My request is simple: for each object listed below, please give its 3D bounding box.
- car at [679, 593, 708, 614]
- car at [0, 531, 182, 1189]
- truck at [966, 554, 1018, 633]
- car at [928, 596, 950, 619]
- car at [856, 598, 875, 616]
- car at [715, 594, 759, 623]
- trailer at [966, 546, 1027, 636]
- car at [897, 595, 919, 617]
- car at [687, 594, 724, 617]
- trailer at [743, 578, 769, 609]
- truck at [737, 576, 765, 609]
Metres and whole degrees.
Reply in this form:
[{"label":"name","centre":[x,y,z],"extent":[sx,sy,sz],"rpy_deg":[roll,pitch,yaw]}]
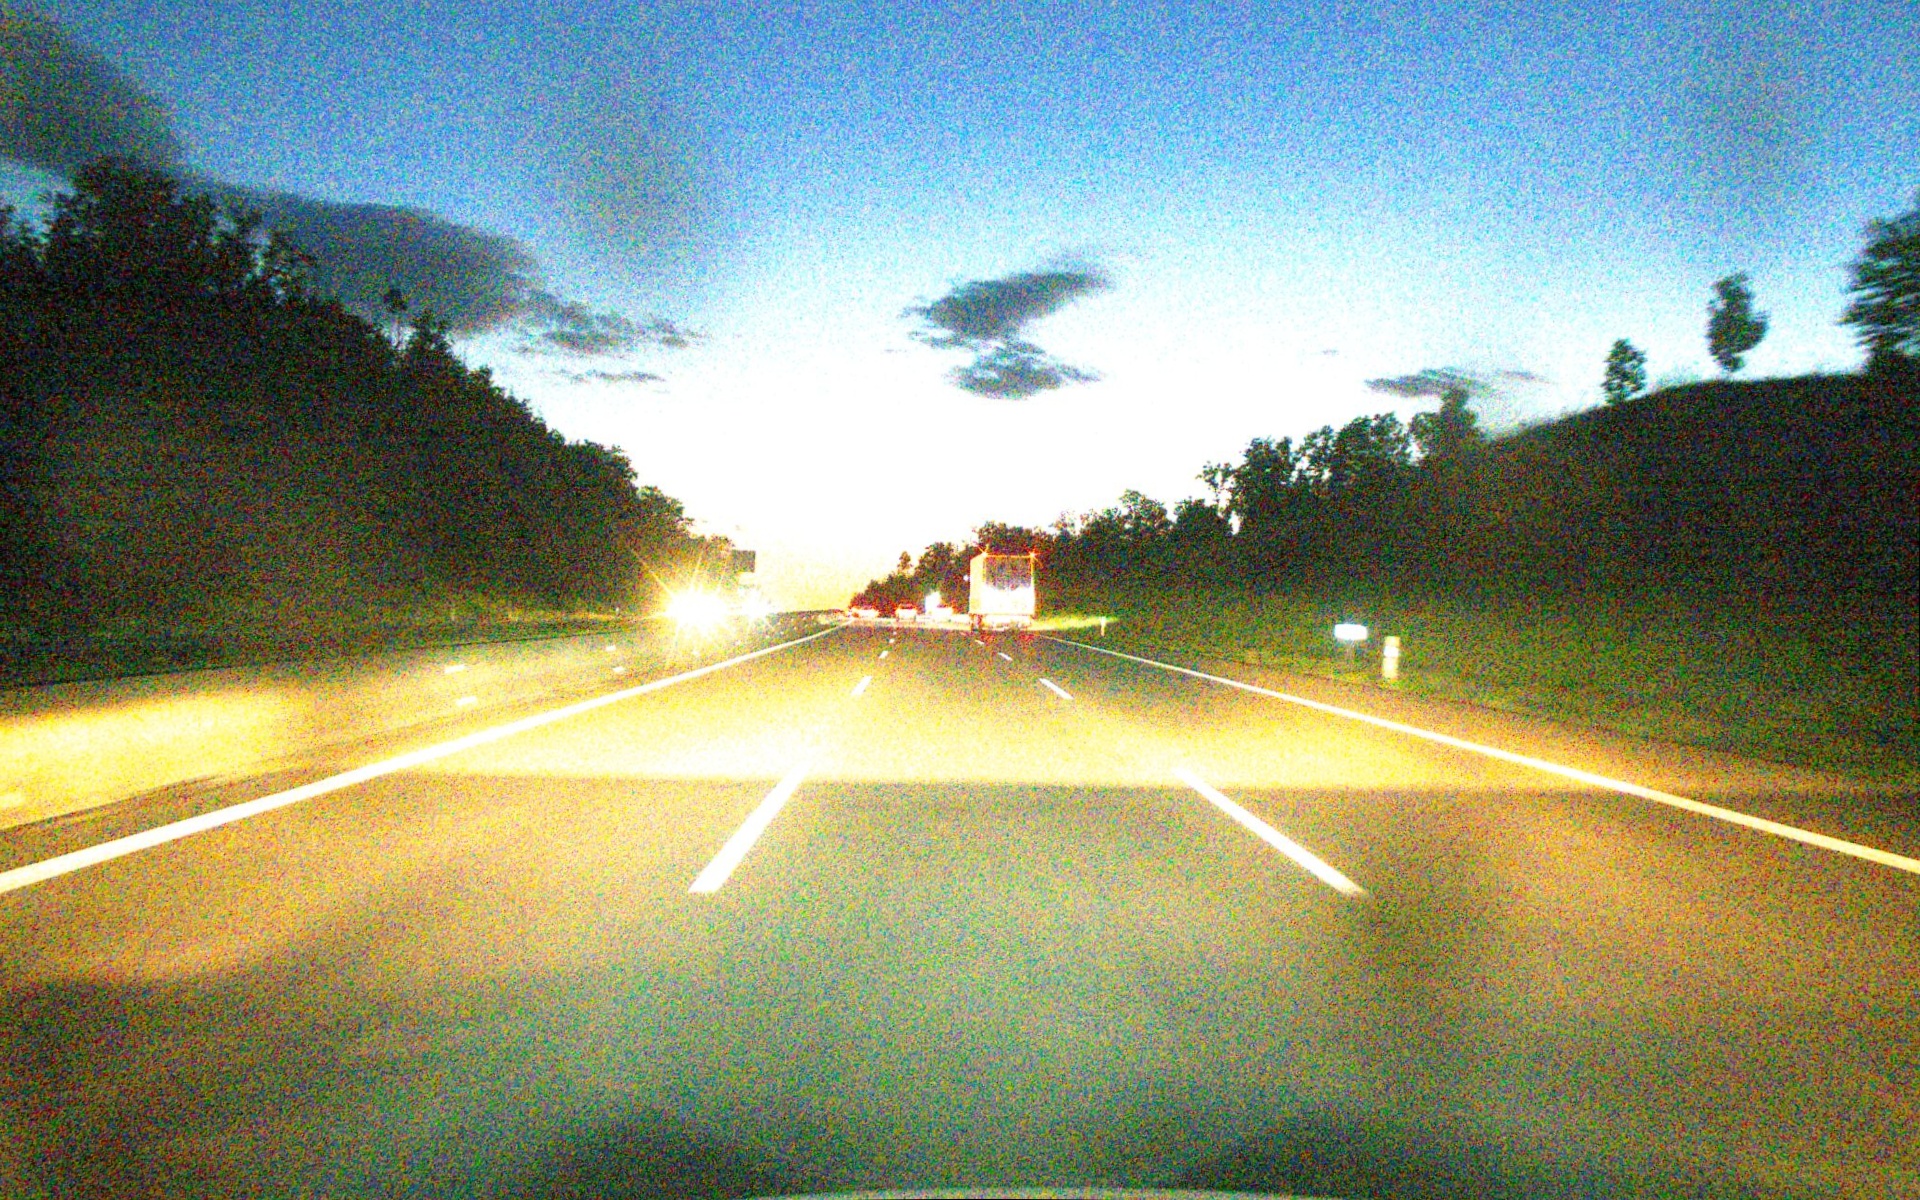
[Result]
[{"label":"car","centre":[-23.249,0.308,144.556],"extent":[1.875,1.777,4.879],"rpy_deg":[1,0,-2]},{"label":"car","centre":[-3.213,0.626,1.896],"extent":[1.953,1.545,5.651],"rpy_deg":[1,1,0]},{"label":"truck","centre":[1.808,-0.359,94.992],"extent":[2.771,4.331,6.262],"rpy_deg":[1,0,0]},{"label":"car","centre":[-2.042,0.755,162.525],"extent":[1.954,2.154,3.997],"rpy_deg":[1,-2,-3]},{"label":"car","centre":[-10.302,0.745,180.713],"extent":[1.954,1.825,3.997],"rpy_deg":[1,-2,-3]},{"label":"car","centre":[-13.761,0.506,102.422],"extent":[2.199,1.749,4.886],"rpy_deg":[1,0,-2]},{"label":"trailer","centre":[1.832,-0.391,89.687],"extent":[2.771,4.331,17.046],"rpy_deg":[1,0,0]},{"label":"car","centre":[-4.663,0.580,149.224],"extent":[1.953,1.825,3.998],"rpy_deg":[1,-2,-1]},{"label":"car","centre":[-18.980,0.427,123.408],"extent":[2.199,1.625,4.884],"rpy_deg":[1,0,-3]},{"label":"trailer","centre":[-28.046,-0.872,227.648],"extent":[2.803,4.143,8.865],"rpy_deg":[1,0,-3]},{"label":"truck","centre":[-27.516,-0.912,217.927],"extent":[2.803,4.143,10.628],"rpy_deg":[1,0,-3]}]
